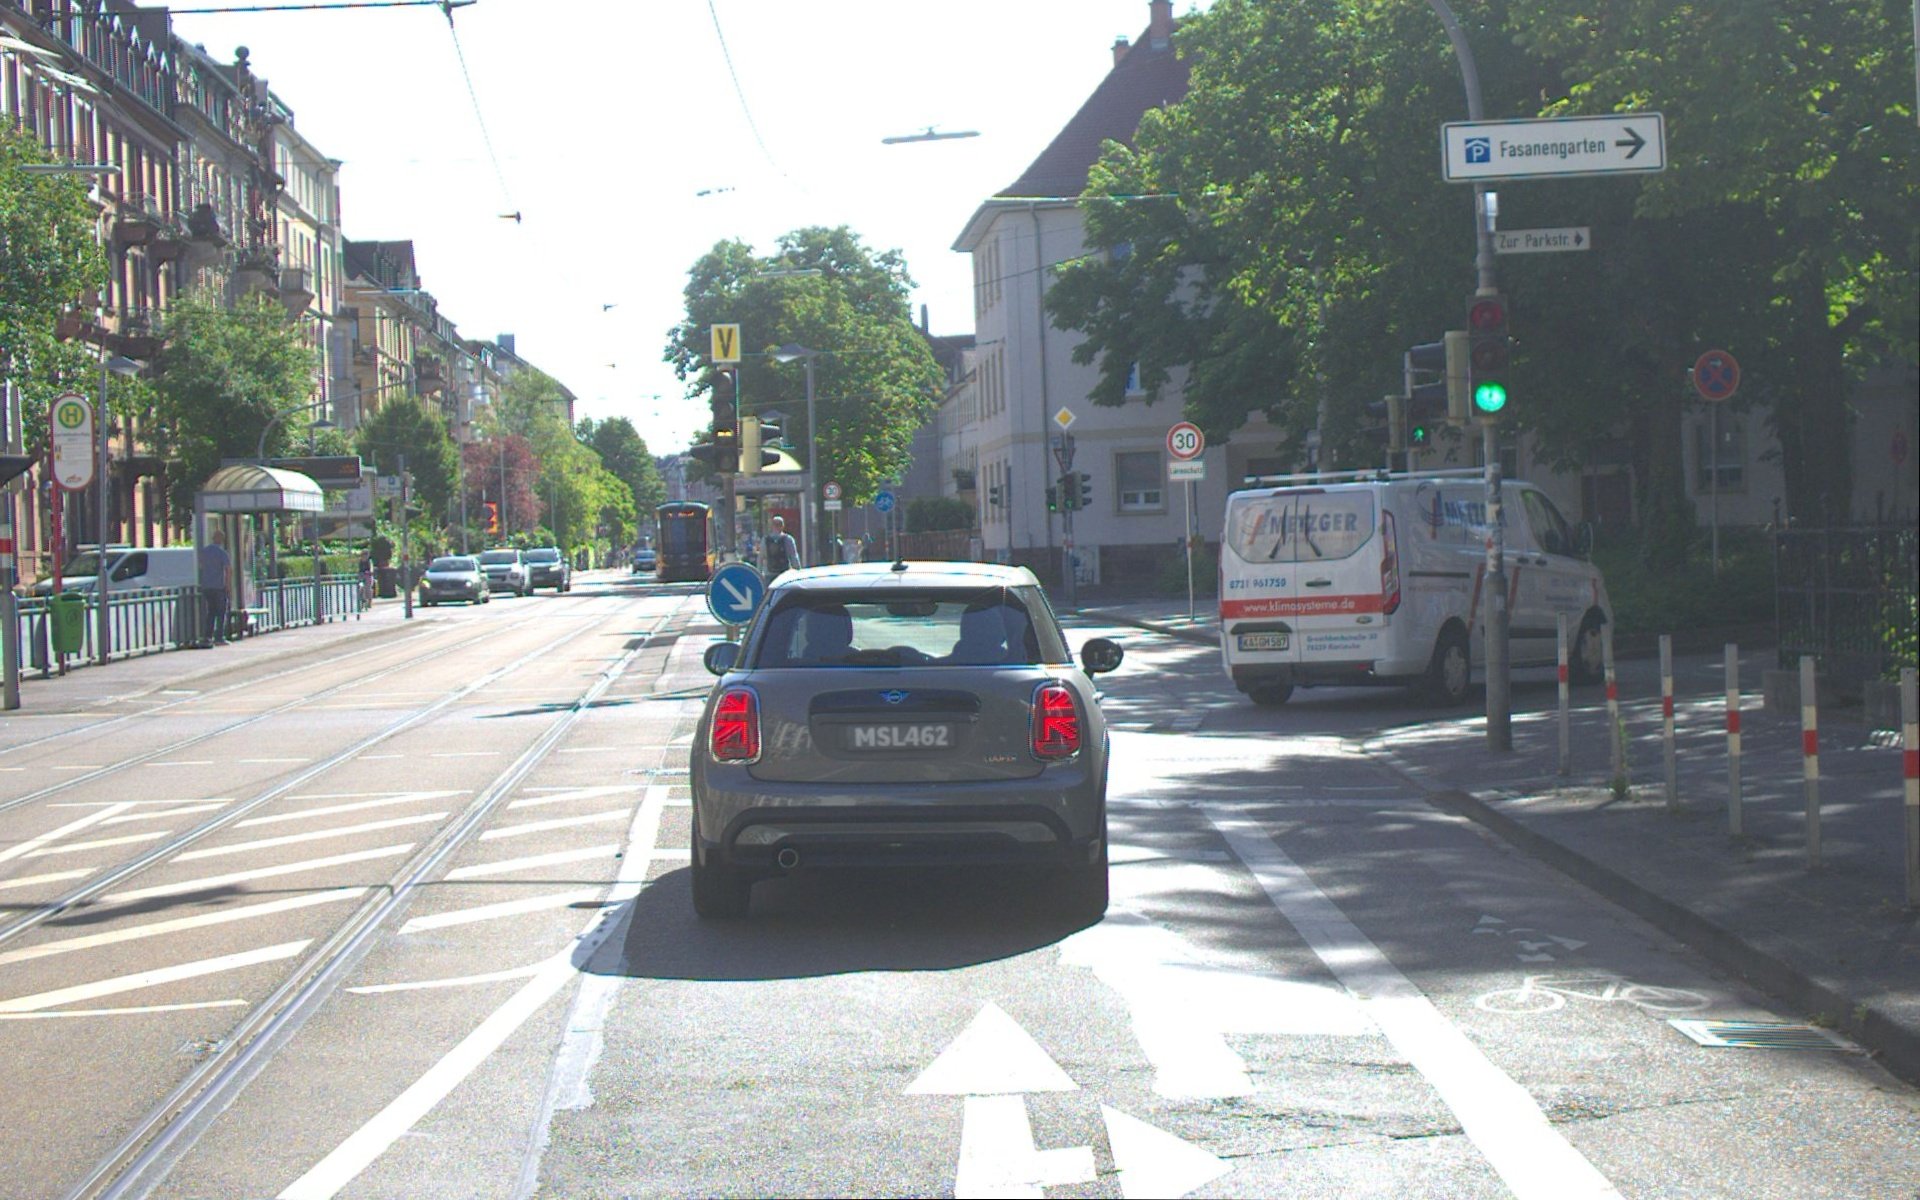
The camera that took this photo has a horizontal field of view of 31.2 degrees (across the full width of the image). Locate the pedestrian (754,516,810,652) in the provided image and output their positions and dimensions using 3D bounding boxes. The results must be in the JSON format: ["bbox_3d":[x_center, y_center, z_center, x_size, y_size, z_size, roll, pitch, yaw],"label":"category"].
[{"bbox_3d":[-2.655,-0.233,51.327,0.795,2.007,0.740,-1,0,-3],"label":"pedestrian"}]

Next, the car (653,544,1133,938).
[{"bbox_3d":[-0.311,0.523,15.144,1.815,1.483,4.000,-1,0,-2],"label":"car"}]

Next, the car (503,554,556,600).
[{"bbox_3d":[-15.697,-0.847,125.462,1.775,1.612,4.001,-1,0,-5],"label":"car"}]

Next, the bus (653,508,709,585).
[{"bbox_3d":[-13.012,-2.460,159.901,2.385,3.484,7.385,-1,0,-6],"label":"bus"}]

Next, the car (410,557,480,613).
[{"bbox_3d":[-15.238,-0.460,101.886,1.775,1.612,4.001,-1,0,-5],"label":"car"}]

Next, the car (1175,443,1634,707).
[{"bbox_3d":[4.134,-0.232,31.217,2.122,2.201,4.935,0,0,34],"label":"car"}]

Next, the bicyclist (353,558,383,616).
[{"bbox_3d":[-16.895,-0.370,98.114,0.713,1.660,0.734,-1,0,1],"label":"bicyclist"}]

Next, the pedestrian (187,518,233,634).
[{"bbox_3d":[-11.766,-0.386,53.934,0.577,1.789,0.608,-2,1,-18],"label":"pedestrian"}]

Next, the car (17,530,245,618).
[{"bbox_3d":[-19.459,-0.620,80.881,1.998,2.007,5.018,0,0,38],"label":"car"}]

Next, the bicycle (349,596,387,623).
[{"bbox_3d":[-16.896,0.256,98.150,0.719,0.747,1.916,-1,0,0],"label":"bicycle"}]

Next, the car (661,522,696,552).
[{"bbox_3d":[-15.205,-3.405,185.425,1.863,1.558,4.001,-1,0,-5],"label":"car"}]

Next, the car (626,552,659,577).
[{"bbox_3d":[-20.978,-2.353,227.157,1.993,1.590,4.000,-1,0,-3],"label":"car"}]

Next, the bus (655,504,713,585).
[{"bbox_3d":[-12.263,-2.432,152.531,2.385,3.484,7.385,-1,0,-6],"label":"bus"}]

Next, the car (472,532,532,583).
[{"bbox_3d":[-15.135,-1.393,113.682,1.775,1.612,4.001,-1,0,-5],"label":"car"}]
